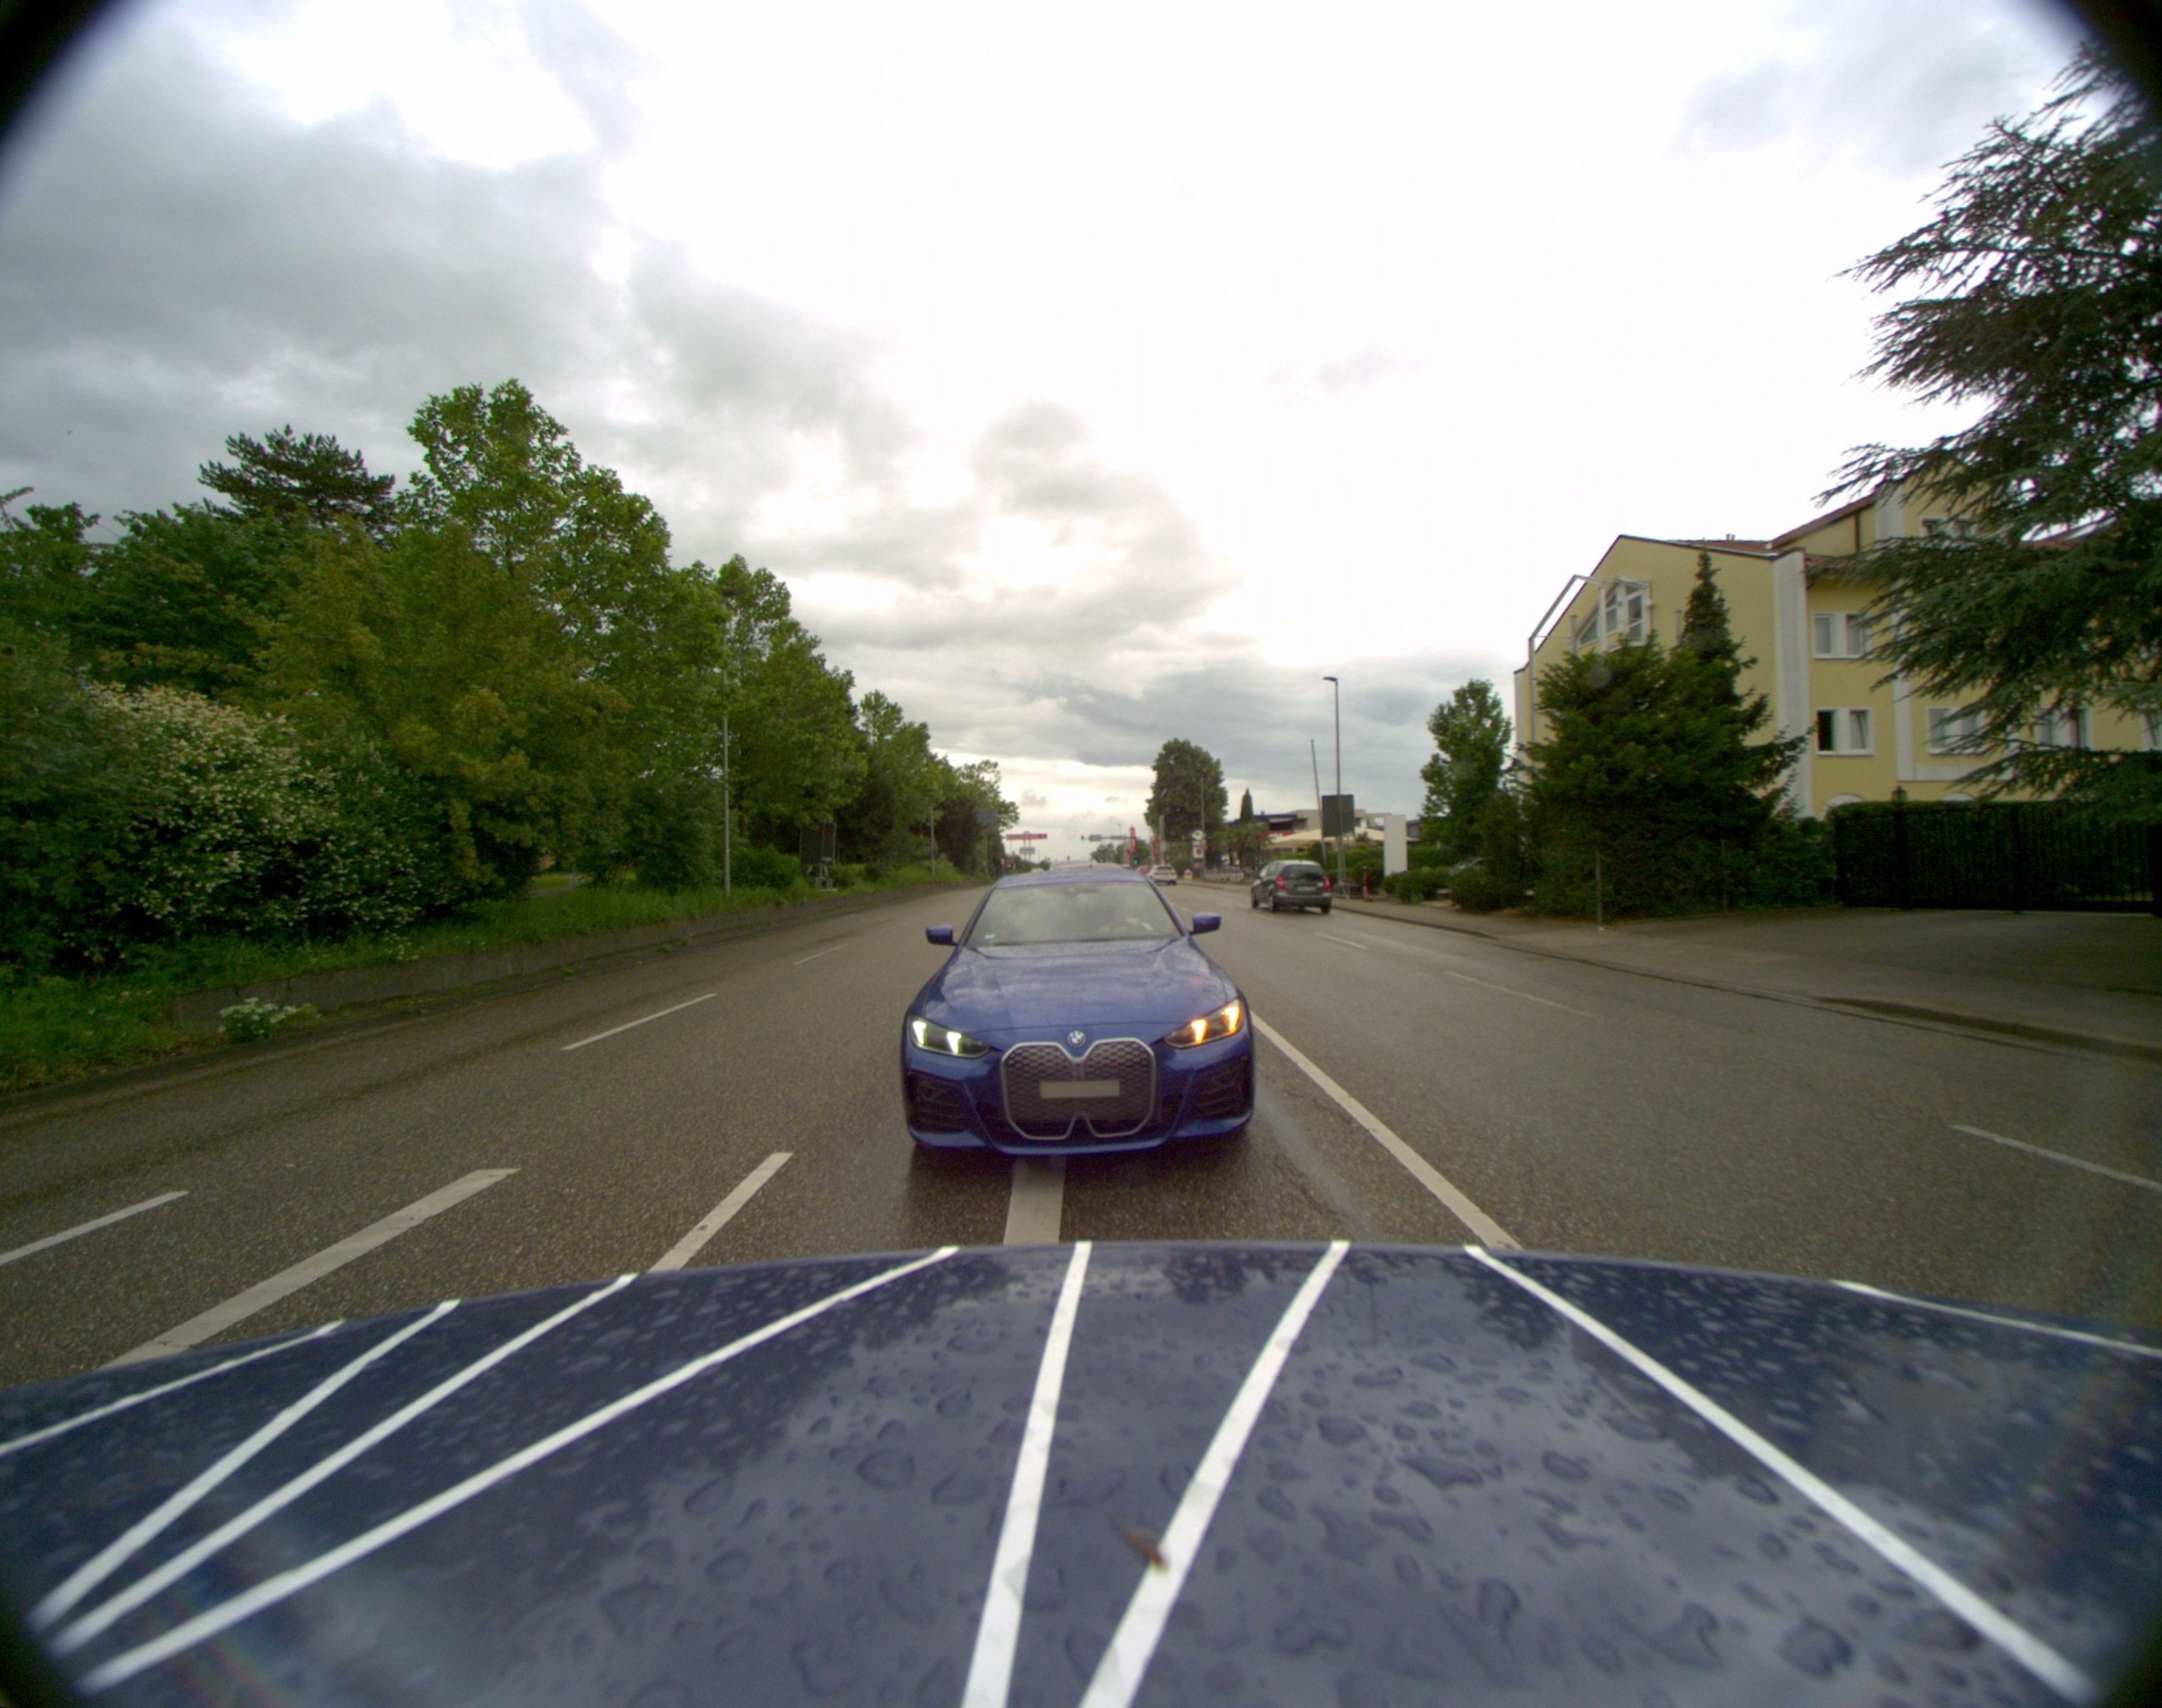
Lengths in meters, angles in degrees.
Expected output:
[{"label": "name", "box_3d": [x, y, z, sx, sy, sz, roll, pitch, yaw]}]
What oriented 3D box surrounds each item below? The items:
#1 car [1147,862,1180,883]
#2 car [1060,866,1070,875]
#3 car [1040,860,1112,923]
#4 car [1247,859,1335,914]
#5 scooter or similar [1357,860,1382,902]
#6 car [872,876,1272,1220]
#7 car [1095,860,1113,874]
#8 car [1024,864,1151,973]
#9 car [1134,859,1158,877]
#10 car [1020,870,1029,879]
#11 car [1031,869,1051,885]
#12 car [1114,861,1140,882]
[{"label": "car", "box_3d": [5.947, 1.298, 55.398, 1.790, 1.451, 4.432, 0, -1, -2]}, {"label": "car", "box_3d": [-3.134, 3.232, 151.227, 1.837, 1.565, 3.512, -3, 1, -1]}, {"label": "car", "box_3d": [-0.111, 0.979, 21.495, 1.807, 1.543, 4.000, -1, 0, 0]}, {"label": "car", "box_3d": [6.487, 0.967, 23.808, 1.704, 1.589, 3.550, 1, -1, -1]}, {"label": "scooter or similar", "box_3d": [10.046, 0.930, 26.524, 0.505, 1.398, 1.882, 0, 0, 11]}, {"label": "car", "box_3d": [-0.038, 0.949, 5.612, 1.803, 1.399, 4.272, -1, 0, 0]}, {"label": "car", "box_3d": [2.507, 1.408, 83.840, 1.820, 1.373, 4.272, -2, 0, 0]}, {"label": "car", "box_3d": [0.110, 0.961, 13.119, 1.807, 1.543, 4.223, -1, 0, 0]}, {"label": "car", "box_3d": [5.932, 1.258, 69.842, 1.699, 1.467, 3.779, -3, 0, -2]}, {"label": "car", "box_3d": [-12.749, 4.607, 170.847, 1.812, 1.718, 3.998, -3, 1, -3]}, {"label": "car", "box_3d": [-4.034, 2.326, 76.946, 1.775, 1.448, 4.000, -1, 0, 1]}, {"label": "car", "box_3d": [3.277, 1.228, 54.530, 1.643, 1.451, 3.518, -1, 0, -1]}]
